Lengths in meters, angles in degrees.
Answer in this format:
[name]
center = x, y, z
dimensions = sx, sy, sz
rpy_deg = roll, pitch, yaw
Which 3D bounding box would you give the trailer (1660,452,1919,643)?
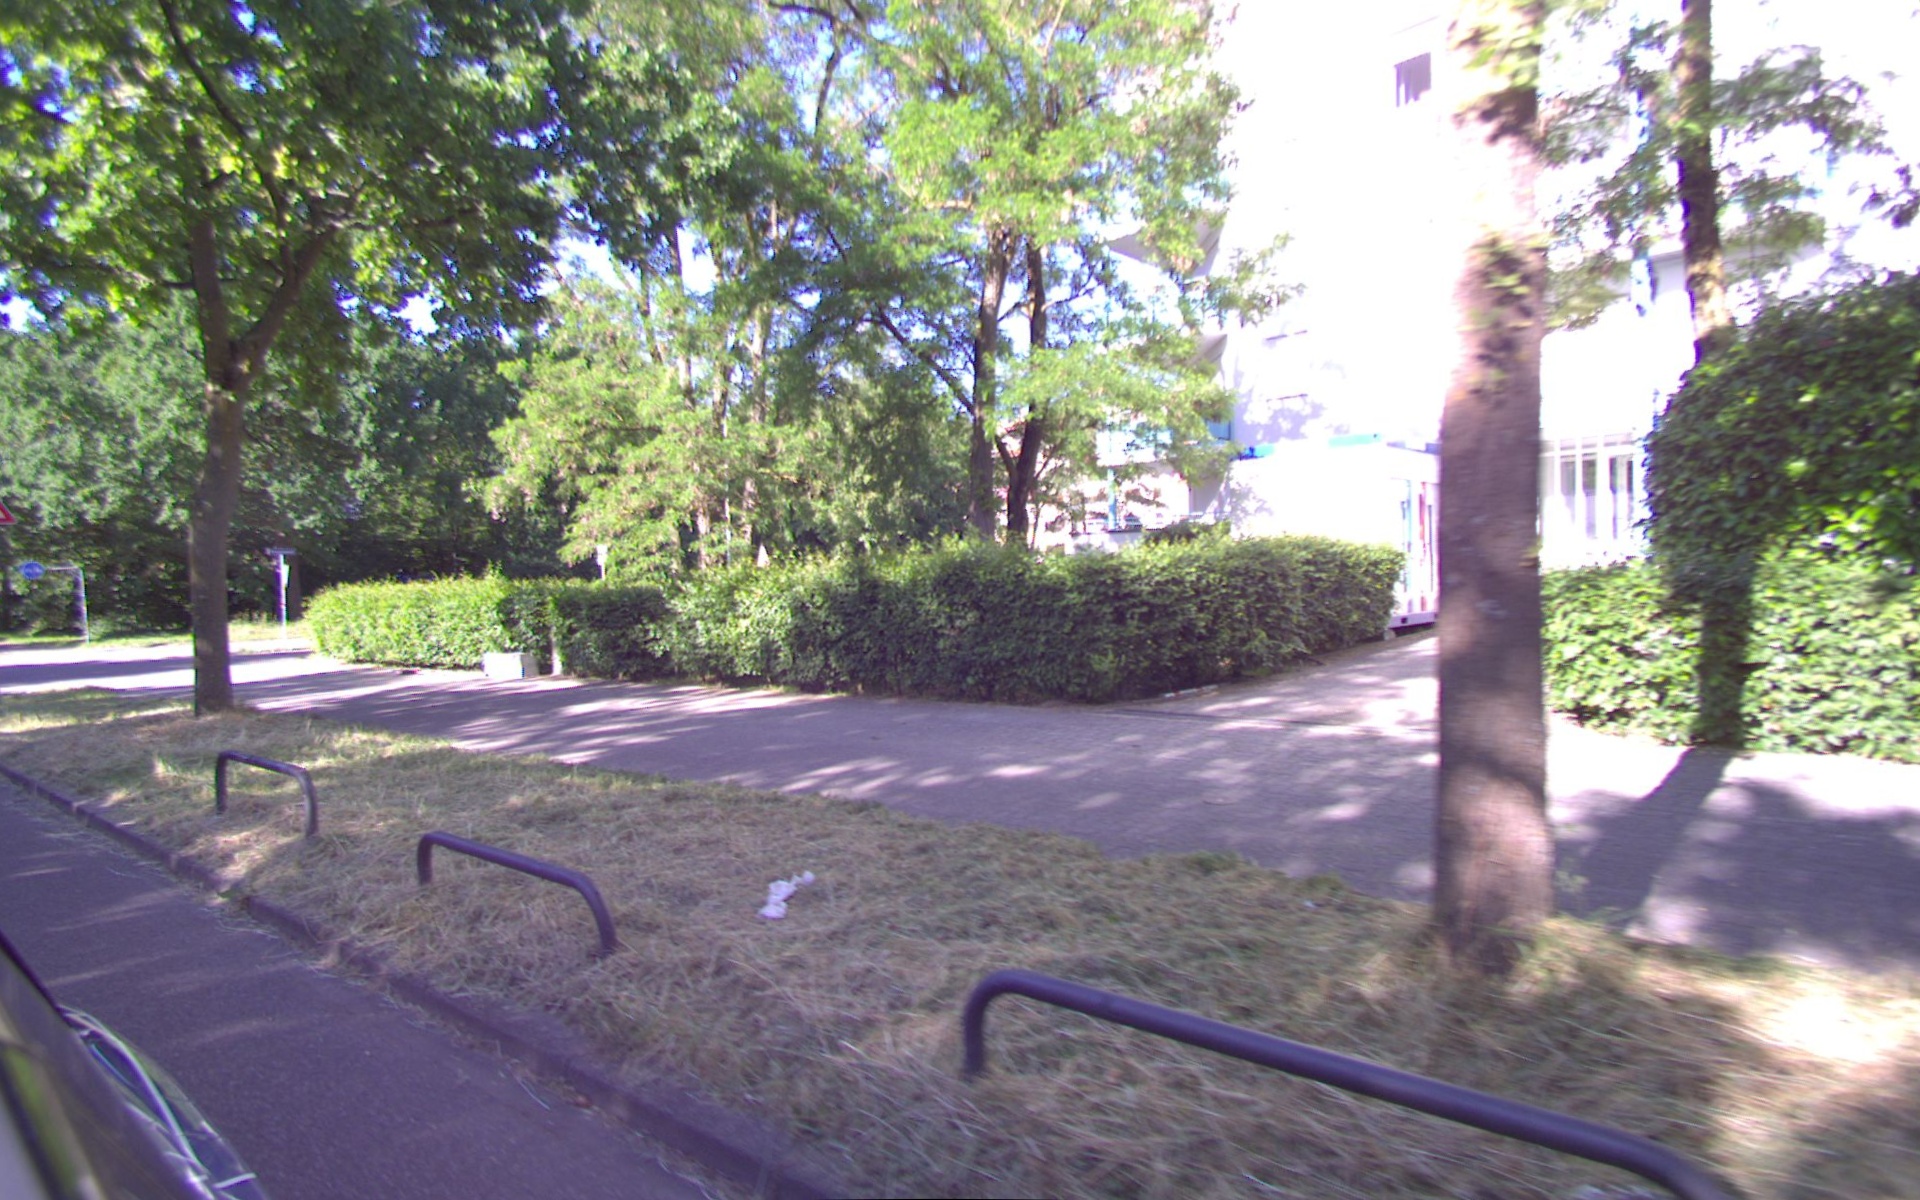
[trailer]
center = 10.955, -0.595, 11.670
dimensions = 1.954, 2.058, 4.433
rpy_deg = -3, 1, -44
